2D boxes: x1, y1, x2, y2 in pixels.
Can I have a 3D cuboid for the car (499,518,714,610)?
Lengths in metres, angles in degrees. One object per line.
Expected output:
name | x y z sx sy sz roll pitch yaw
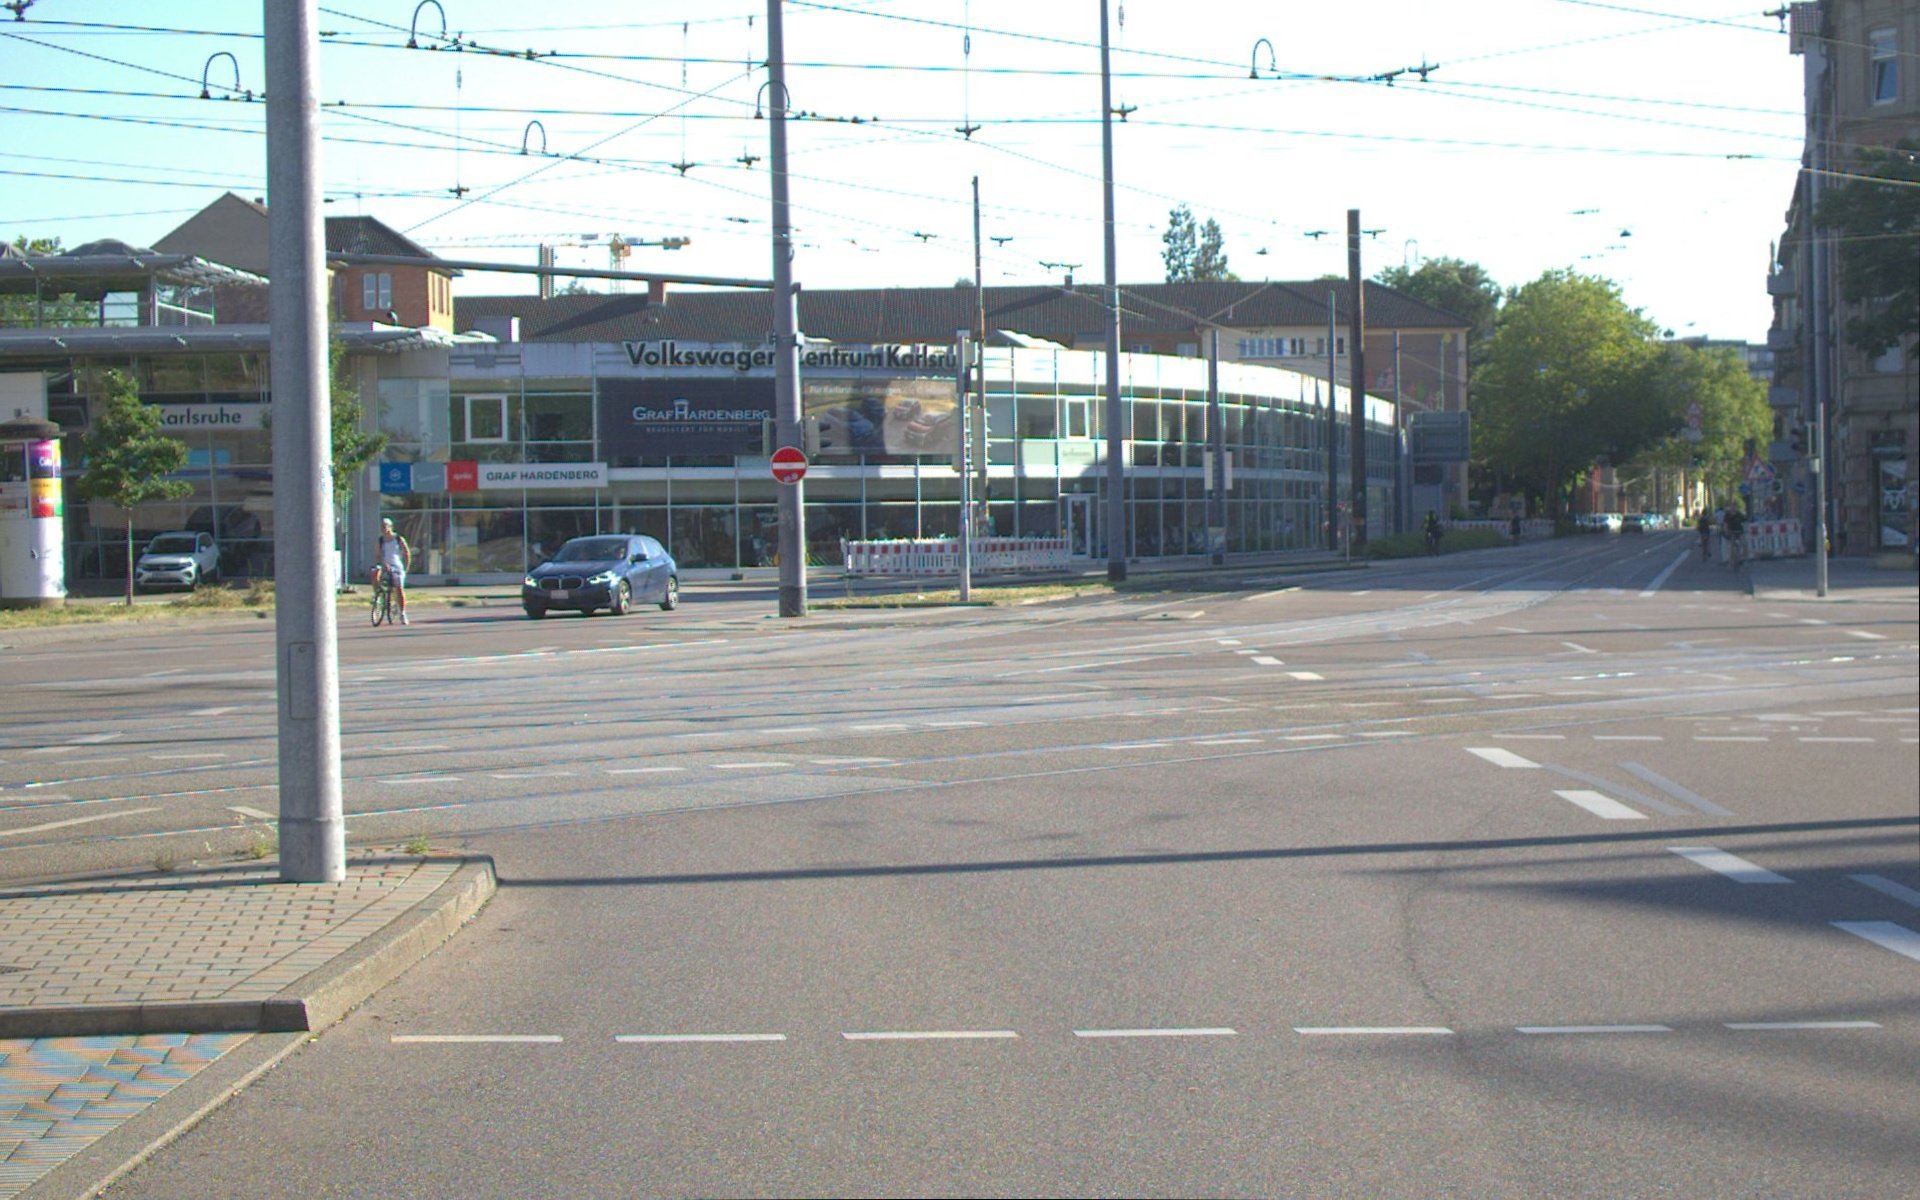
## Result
car | -6.306 -0.635 61.757 1.996 1.579 3.994 1 1 27

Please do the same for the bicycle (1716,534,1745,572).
bicycle | 19.834 -1.212 88.530 0.658 0.949 1.599 1 1 15

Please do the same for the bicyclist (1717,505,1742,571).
bicyclist | 19.849 -1.607 88.672 0.518 1.695 0.516 1 0 3

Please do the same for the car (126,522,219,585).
car | -22.706 -1.338 99.296 1.993 1.744 4.001 1 1 -4

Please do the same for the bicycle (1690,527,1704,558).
bicycle | 23.064 -1.800 107.516 0.410 0.938 1.844 1 1 12

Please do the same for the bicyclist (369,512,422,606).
bicyclist | -9.818 -0.716 59.823 0.598 1.610 0.822 1 0 17

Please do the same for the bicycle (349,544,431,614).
bicycle | -9.881 -0.372 59.627 0.613 1.185 1.867 1 1 17

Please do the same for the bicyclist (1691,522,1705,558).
bicyclist | 23.017 -1.875 107.245 0.408 1.112 0.399 1 0 11
